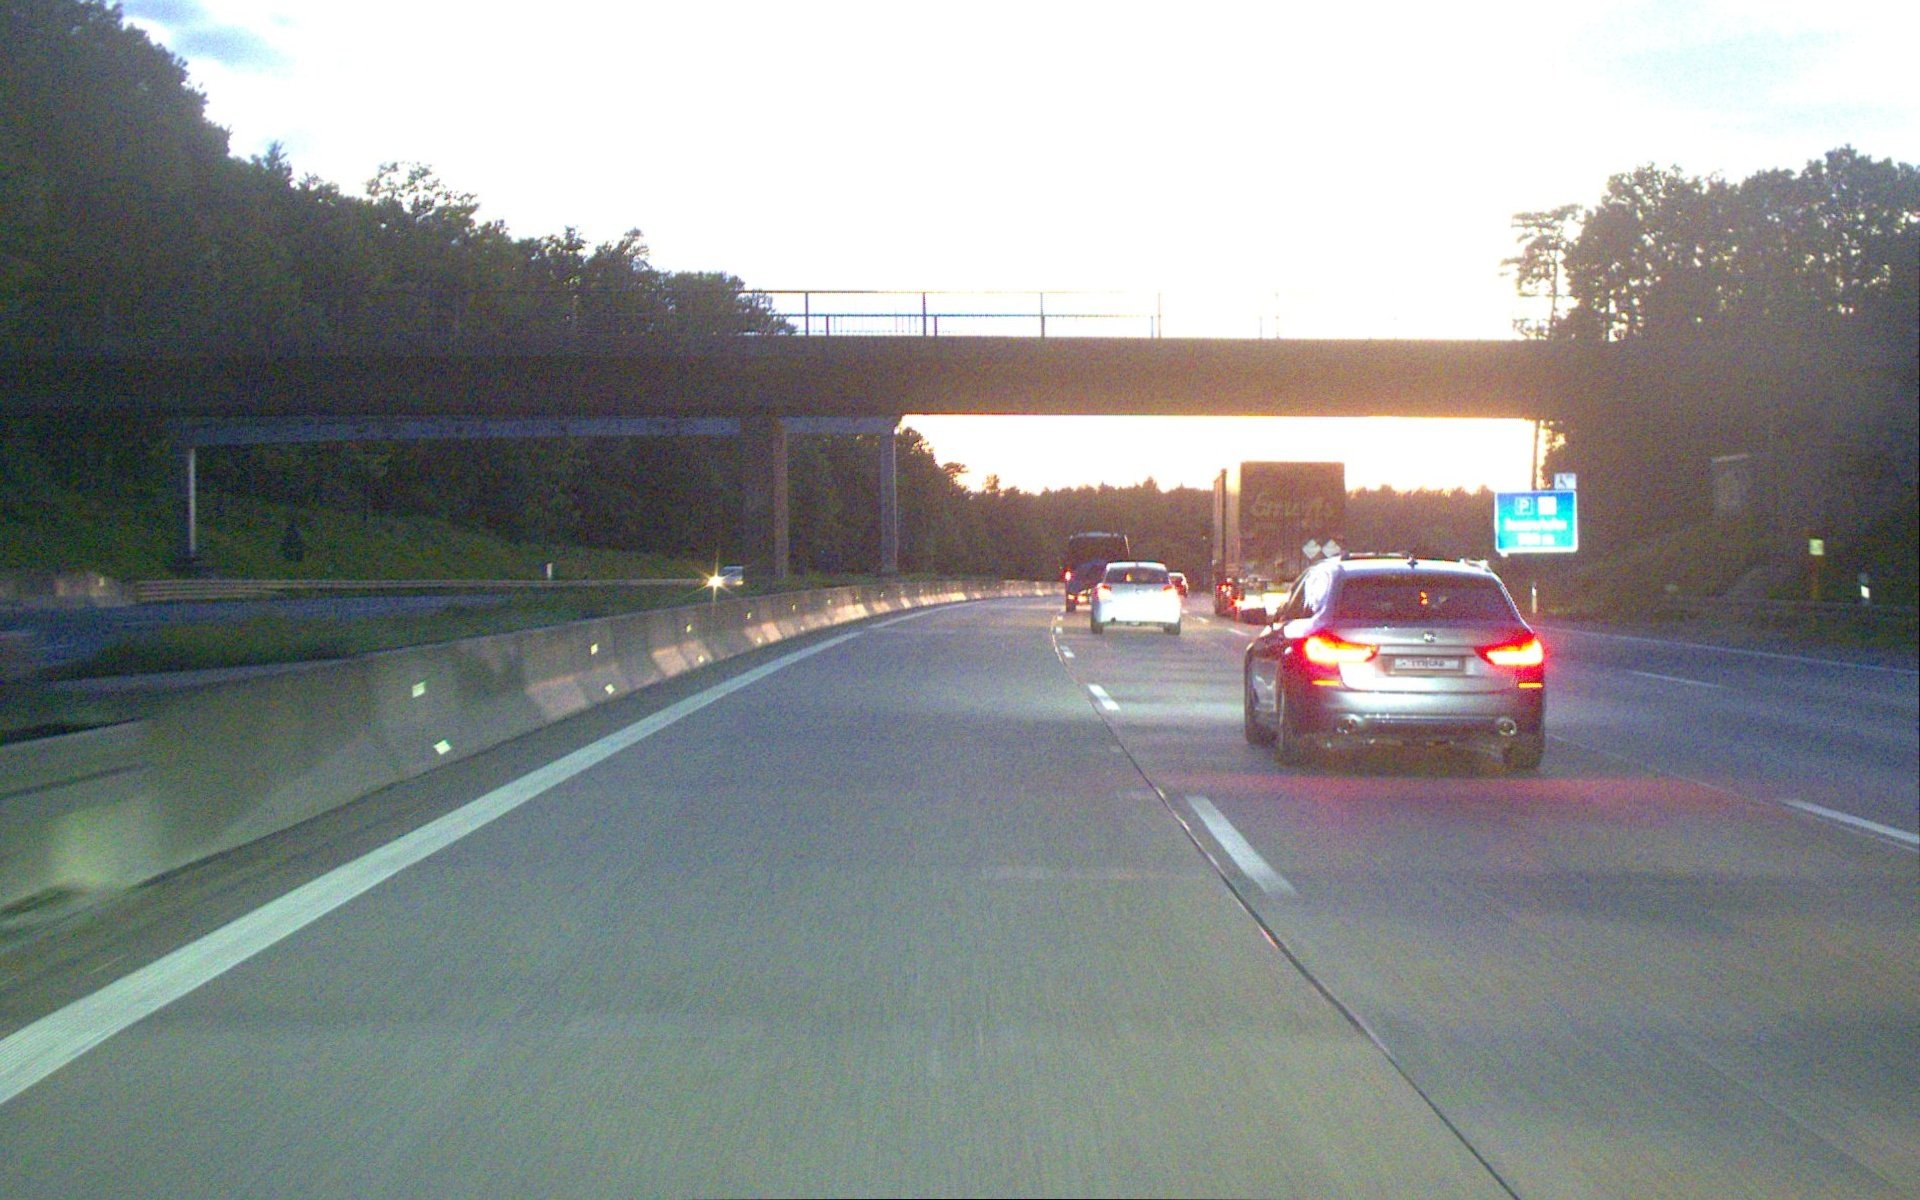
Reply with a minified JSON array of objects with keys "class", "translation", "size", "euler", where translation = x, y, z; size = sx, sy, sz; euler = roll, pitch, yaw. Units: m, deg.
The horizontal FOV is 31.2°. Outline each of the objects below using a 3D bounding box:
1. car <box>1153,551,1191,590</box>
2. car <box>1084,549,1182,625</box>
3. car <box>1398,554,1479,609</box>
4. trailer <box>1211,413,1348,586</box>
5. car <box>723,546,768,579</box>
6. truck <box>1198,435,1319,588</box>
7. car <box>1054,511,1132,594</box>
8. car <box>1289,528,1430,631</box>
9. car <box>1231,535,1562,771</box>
[{"class":"car","translation":[13.451,-1.855,217.905],"size":[2.166,2.410,5.563],"euler":[0,0,1]},{"class":"car","translation":[3.479,-0.281,69.627],"size":[1.859,1.437,3.720],"euler":[0,2,1]},{"class":"car","translation":[12.987,-0.496,93.474],"size":[1.859,1.437,4.111],"euler":[0,0,3]},{"class":"trailer","translation":[8.102,-2.443,88.276],"size":[2.907,4.087,10.356],"euler":[1,0,2]},{"class":"car","translation":[-10.265,-1.814,164.858],"size":[1.811,1.515,4.430],"euler":[0,2,1]},{"class":"truck","translation":[8.481,-2.419,98.830],"size":[2.885,4.087,10.830],"euler":[1,0,2]},{"class":"car","translation":[3.998,-1.416,104.384],"size":[2.166,2.410,5.564],"euler":[0,0,0]},{"class":"car","translation":[6.651,-0.359,57.693],"size":[1.903,1.638,5.052],"euler":[0,1,1]},{"class":"car","translation":[3.149,0.306,25.796],"size":[1.909,1.532,5.231],"euler":[0,2,1]}]
